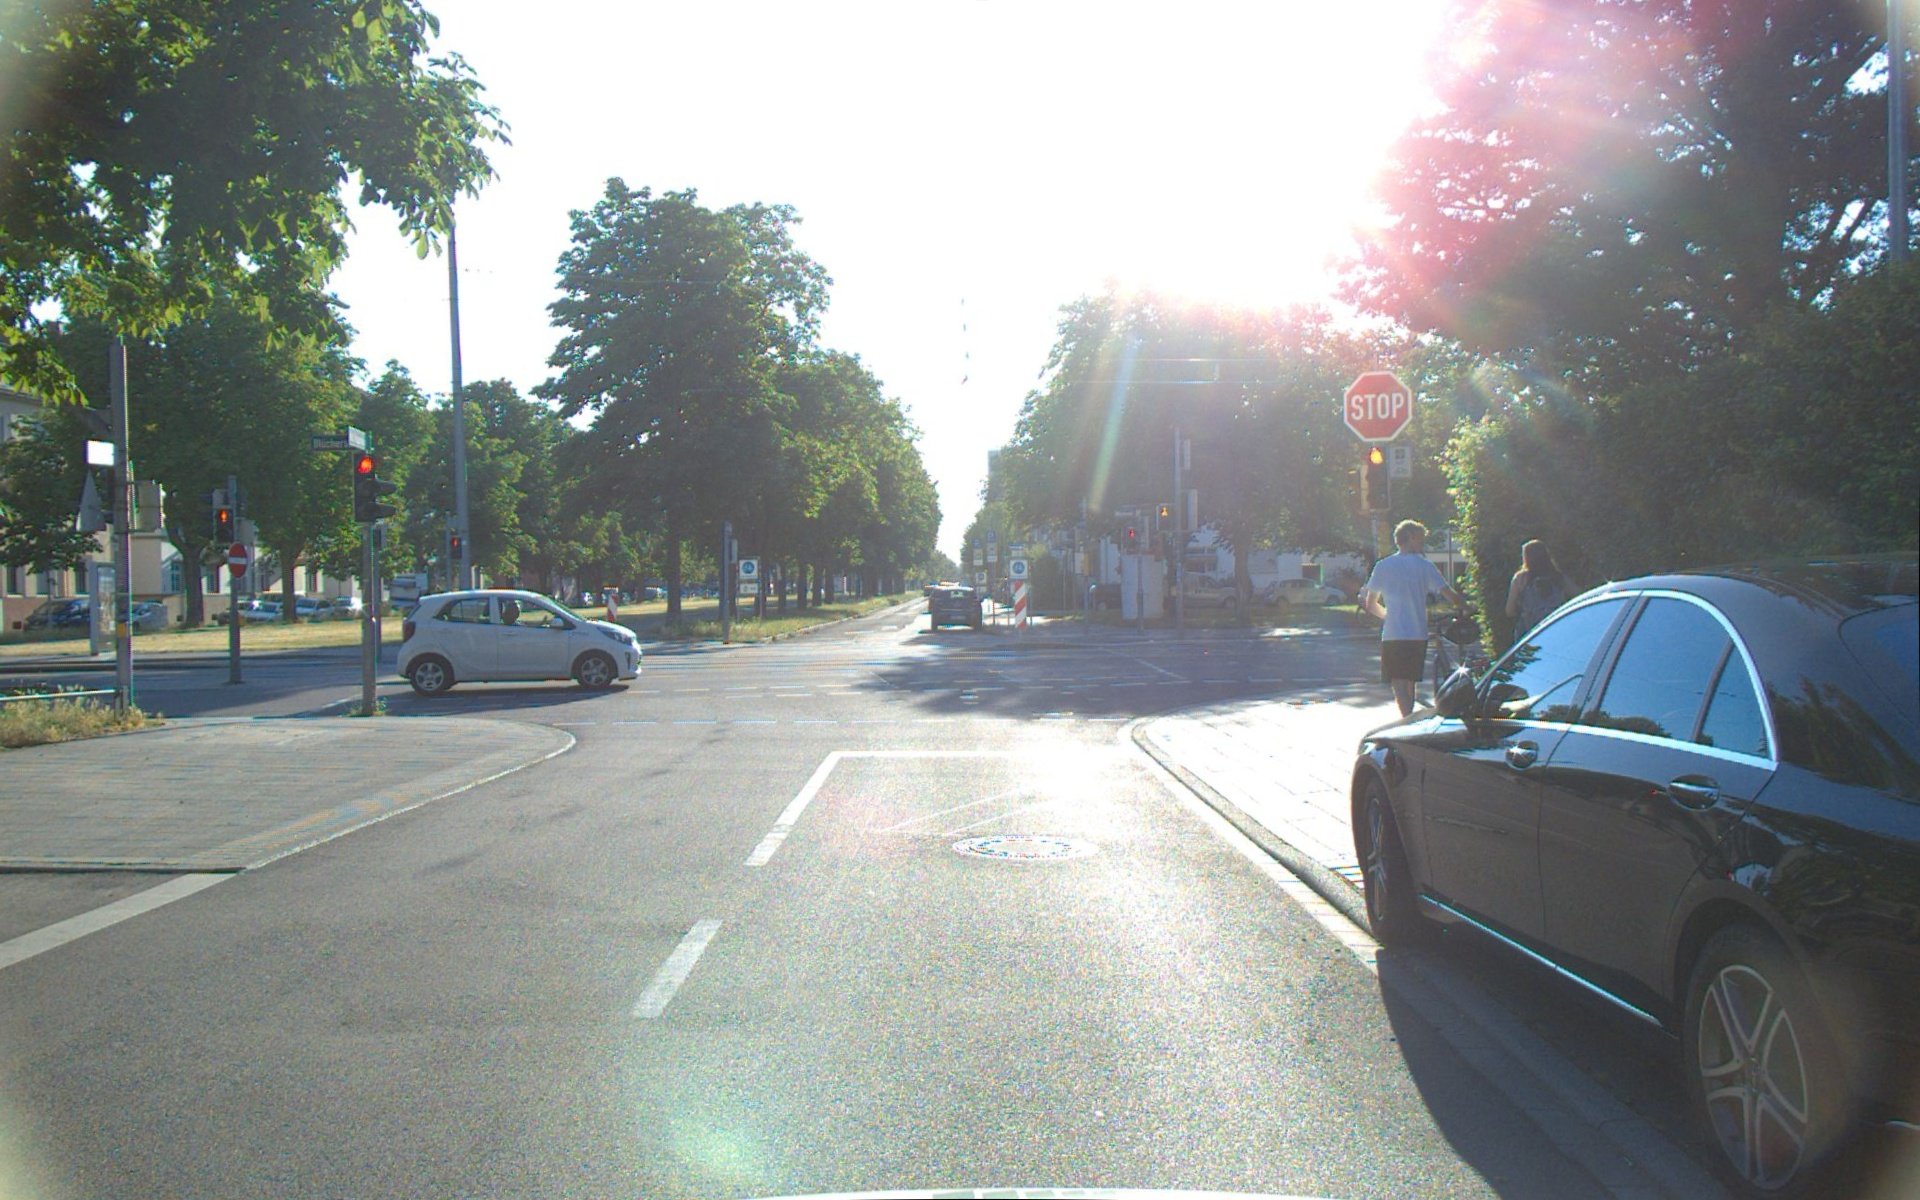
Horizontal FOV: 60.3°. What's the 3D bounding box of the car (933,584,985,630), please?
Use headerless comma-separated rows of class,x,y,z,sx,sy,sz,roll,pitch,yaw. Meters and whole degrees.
car,0.005,0.200,55.713,1.607,1.476,3.308,-1,1,2

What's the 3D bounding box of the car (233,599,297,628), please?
car,-36.893,0.710,87.873,1.702,1.452,3.793,-1,1,0

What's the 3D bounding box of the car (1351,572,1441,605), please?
car,20.385,-0.529,77.347,3.770,1.452,1.596,-1,0,-4

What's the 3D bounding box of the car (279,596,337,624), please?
car,-37.024,0.544,94.016,1.702,1.452,3.793,-1,2,0

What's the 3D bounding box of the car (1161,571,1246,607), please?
car,11.312,-0.509,76.869,3.702,1.552,1.744,-1,2,0

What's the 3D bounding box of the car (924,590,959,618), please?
car,-0.982,0.204,89.705,1.807,1.418,3.829,0,1,1

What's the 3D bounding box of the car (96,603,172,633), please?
car,-42.475,0.904,85.105,1.701,1.452,3.795,0,0,6

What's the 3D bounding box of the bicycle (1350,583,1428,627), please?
bicycle,11.497,0.130,44.375,1.913,1.152,0.620,-1,0,2

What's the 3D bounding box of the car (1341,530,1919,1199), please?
car,2.704,0.620,5.011,1.821,1.569,4.871,-1,0,-2

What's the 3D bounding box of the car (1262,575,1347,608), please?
car,15.950,-0.383,76.690,3.591,1.452,1.530,-1,0,-4

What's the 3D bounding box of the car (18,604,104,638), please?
car,-42.670,0.960,78.576,1.701,1.421,3.796,-1,2,6

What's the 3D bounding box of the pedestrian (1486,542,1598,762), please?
pedestrian,4.725,0.407,13.455,0.656,1.738,0.622,0,0,-6

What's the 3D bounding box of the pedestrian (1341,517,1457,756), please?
pedestrian,3.591,0.283,13.585,0.657,1.898,0.881,0,0,-4

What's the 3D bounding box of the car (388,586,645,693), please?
car,-6.627,0.566,25.059,3.621,1.514,1.736,-1,0,-12

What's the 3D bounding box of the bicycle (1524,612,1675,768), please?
bicycle,5.167,0.691,13.448,0.477,1.163,1.596,0,0,-5

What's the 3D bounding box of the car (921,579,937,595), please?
car,-4.160,-1.792,223.608,2.090,2.049,3.902,-1,1,1

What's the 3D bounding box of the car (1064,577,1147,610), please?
car,6.728,-0.301,76.661,3.702,1.452,1.744,-1,2,0

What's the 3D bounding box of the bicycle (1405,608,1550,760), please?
bicycle,4.152,0.637,13.395,0.477,1.116,1.789,0,0,-5
